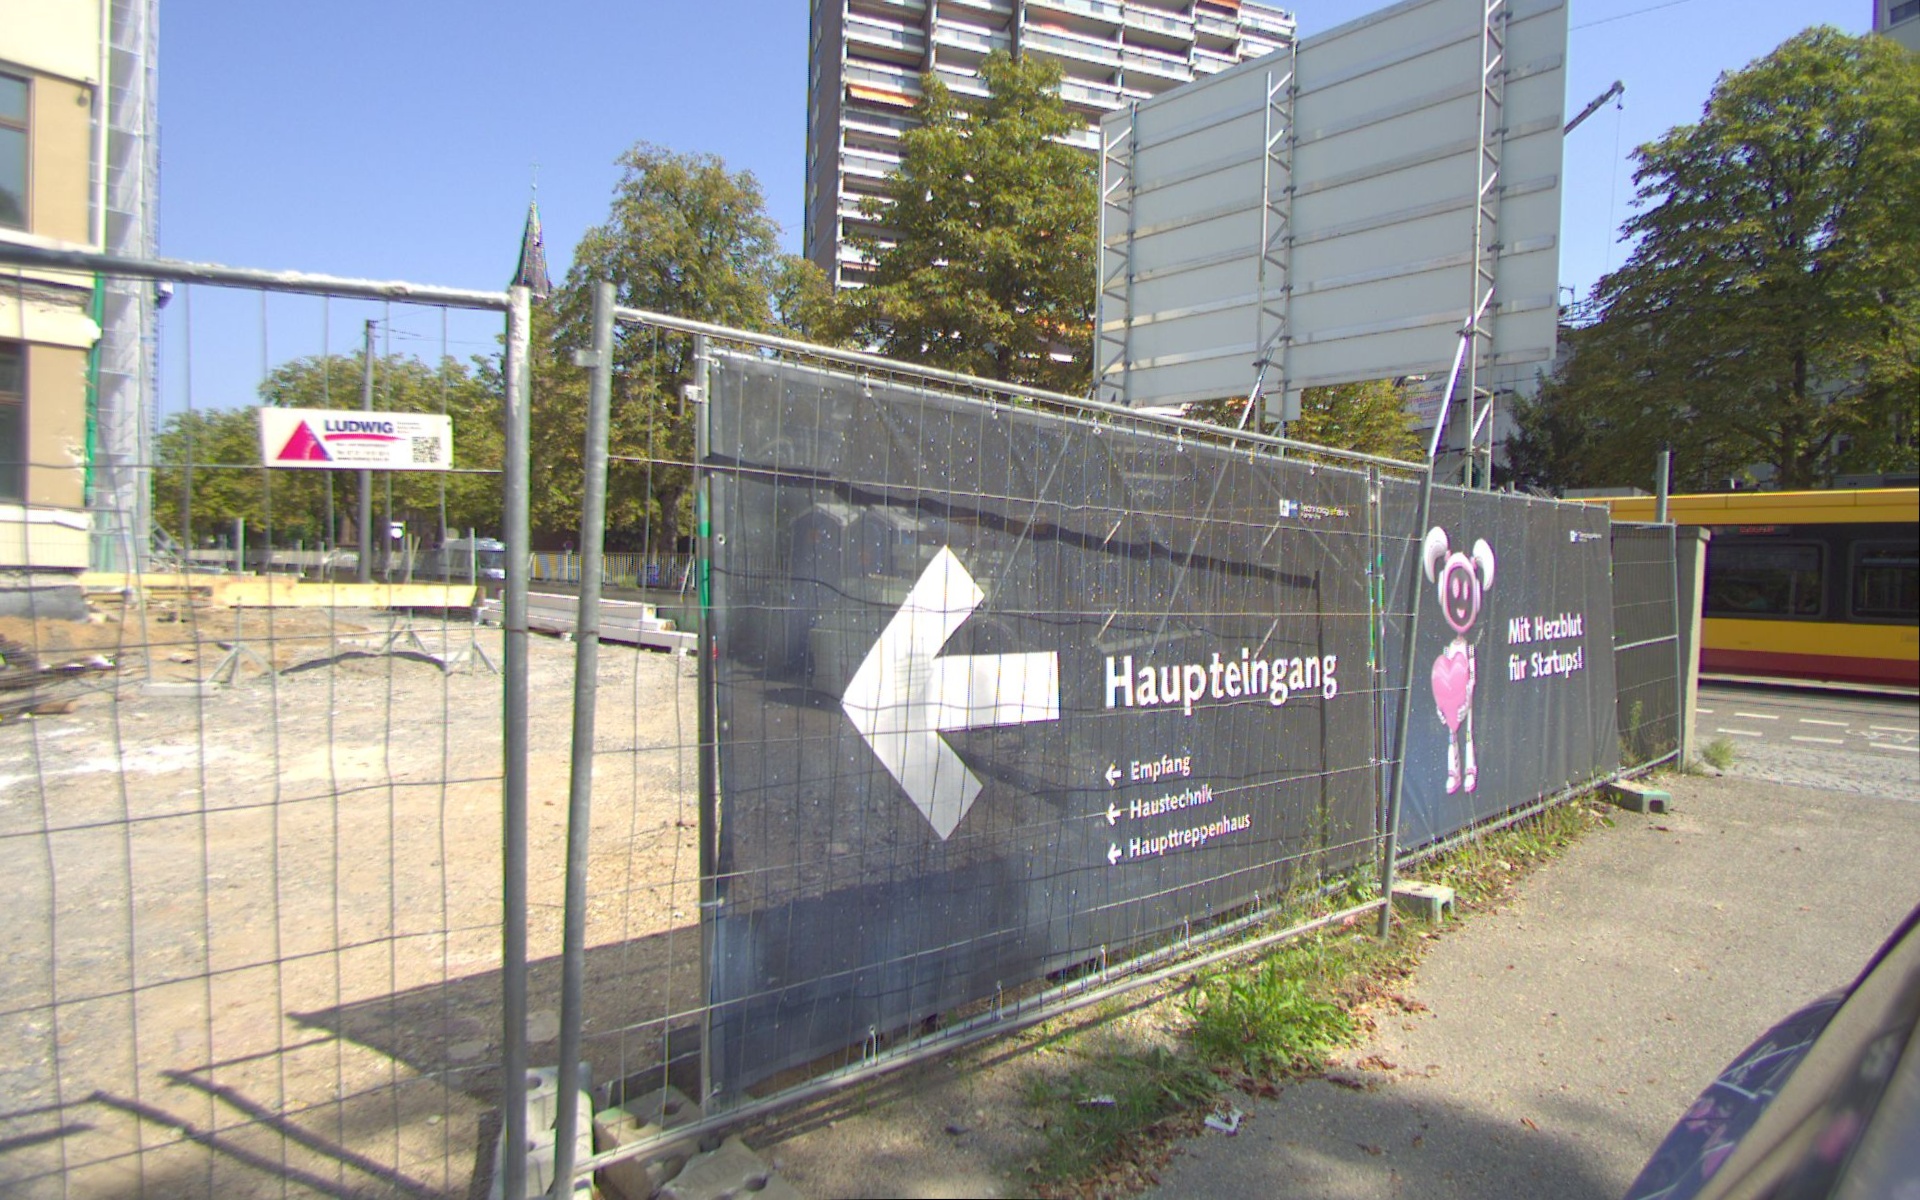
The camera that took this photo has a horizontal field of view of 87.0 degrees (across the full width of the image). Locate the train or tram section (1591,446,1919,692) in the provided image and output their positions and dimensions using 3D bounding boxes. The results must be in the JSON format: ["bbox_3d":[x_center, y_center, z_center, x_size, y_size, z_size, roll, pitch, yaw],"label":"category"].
[{"bbox_3d":[17.115,-0.417,15.297,3.450,3.750,12.384,0,2,-44],"label":"train or tram section"}]

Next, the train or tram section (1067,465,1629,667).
[{"bbox_3d":[8.467,-0.840,24.461,3.450,3.750,12.384,0,2,-44],"label":"train or tram section"}]

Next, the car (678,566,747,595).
[{"bbox_3d":[-13.911,-1.098,57.114,1.758,1.515,4.270,2,1,19],"label":"car"}]

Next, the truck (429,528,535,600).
[{"bbox_3d":[-18.651,-1.418,39.355,5.576,2.631,1.892,3,2,44],"label":"truck"}]
